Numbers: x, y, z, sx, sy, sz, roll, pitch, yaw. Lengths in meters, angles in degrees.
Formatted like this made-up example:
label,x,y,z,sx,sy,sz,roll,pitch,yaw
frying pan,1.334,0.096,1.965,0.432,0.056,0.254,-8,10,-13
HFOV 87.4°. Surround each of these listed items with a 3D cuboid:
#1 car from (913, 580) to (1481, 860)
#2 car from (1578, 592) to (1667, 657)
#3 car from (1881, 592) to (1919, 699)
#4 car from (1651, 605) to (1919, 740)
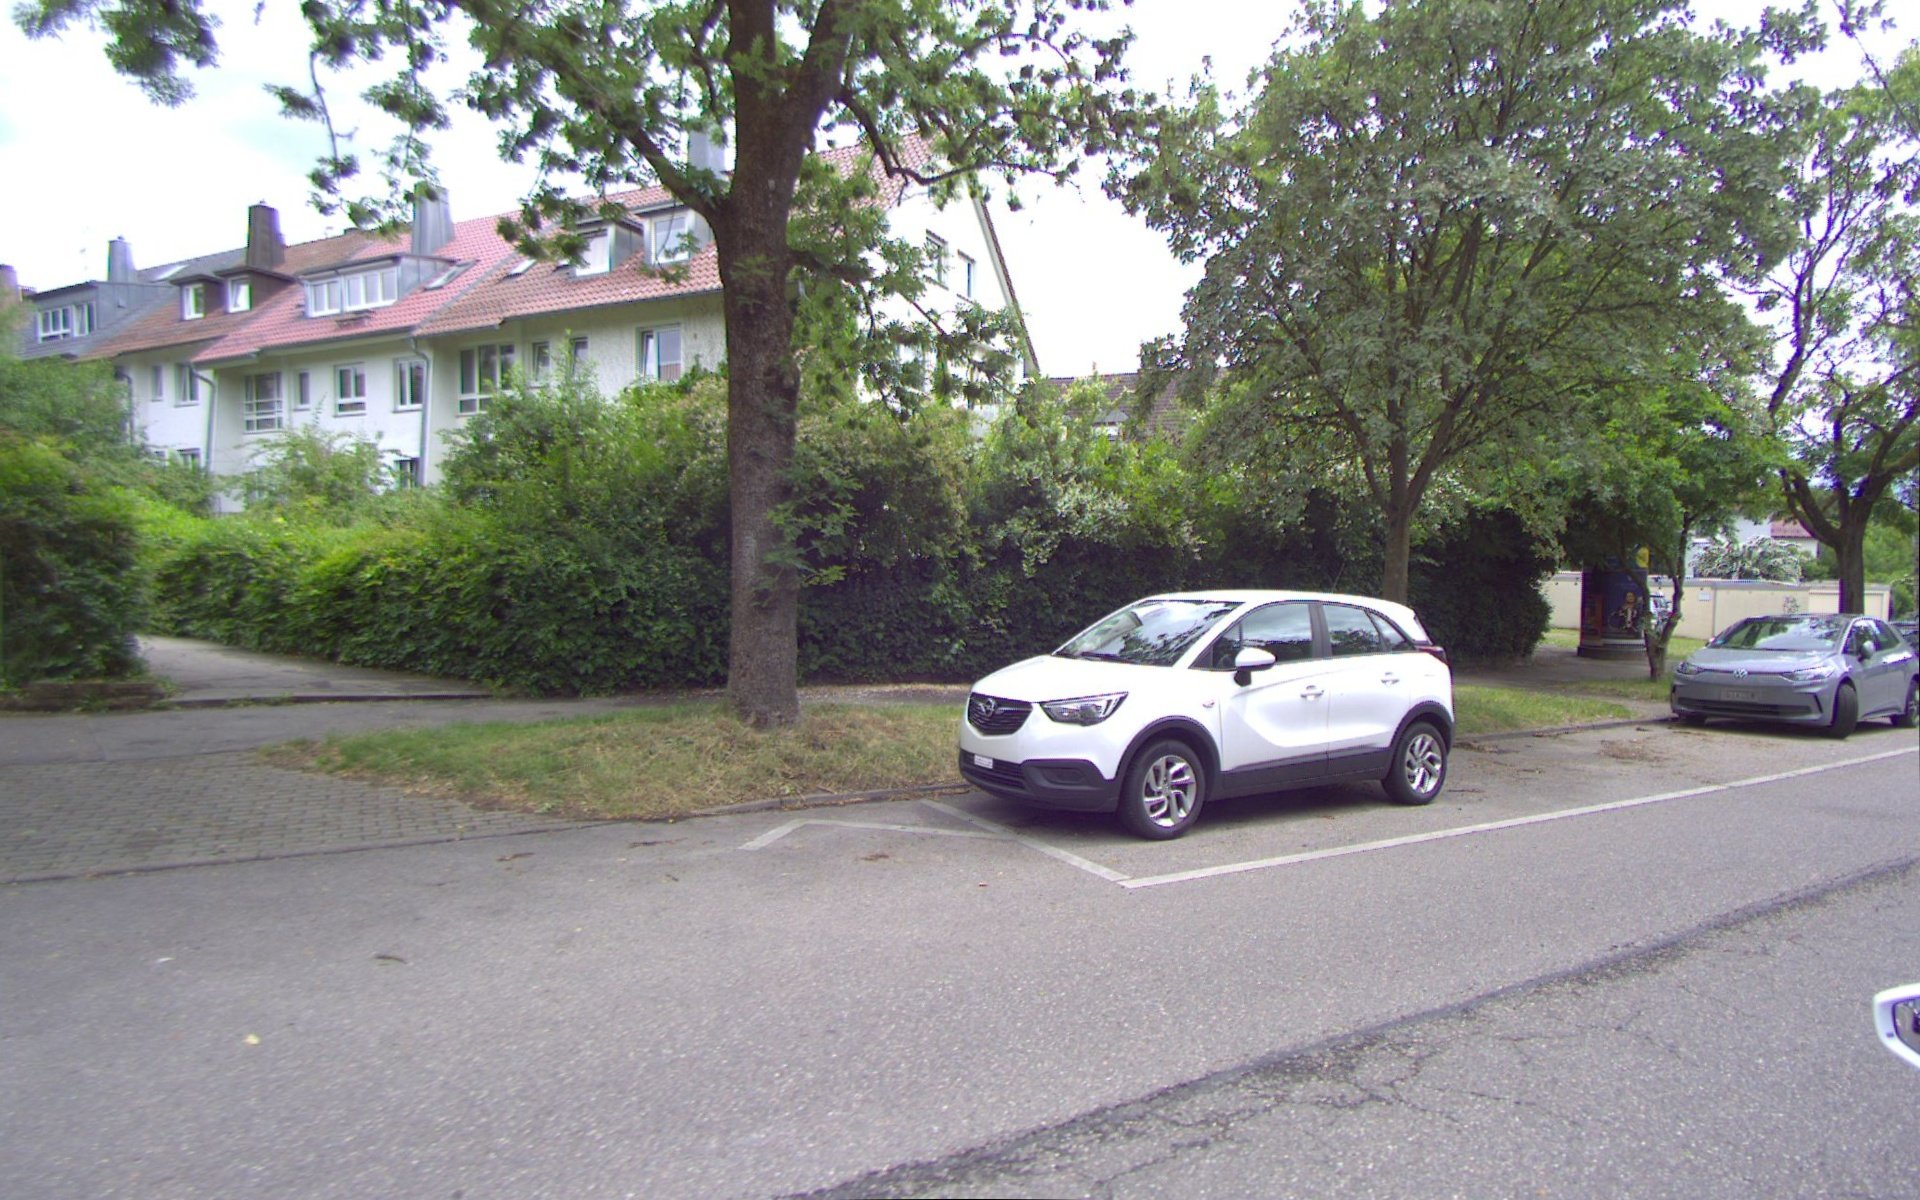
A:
label,x,y,z,sx,sy,sz,roll,pitch,yaw
car,1.859,0.712,7.538,4.092,1.600,1.727,1,0,-30
car,18.085,0.618,27.337,1.750,1.497,3.976,6,4,36
car,19.768,0.866,19.419,5.032,1.934,1.845,1,1,-35
car,11.538,0.897,13.843,4.182,1.558,1.855,1,1,-33
